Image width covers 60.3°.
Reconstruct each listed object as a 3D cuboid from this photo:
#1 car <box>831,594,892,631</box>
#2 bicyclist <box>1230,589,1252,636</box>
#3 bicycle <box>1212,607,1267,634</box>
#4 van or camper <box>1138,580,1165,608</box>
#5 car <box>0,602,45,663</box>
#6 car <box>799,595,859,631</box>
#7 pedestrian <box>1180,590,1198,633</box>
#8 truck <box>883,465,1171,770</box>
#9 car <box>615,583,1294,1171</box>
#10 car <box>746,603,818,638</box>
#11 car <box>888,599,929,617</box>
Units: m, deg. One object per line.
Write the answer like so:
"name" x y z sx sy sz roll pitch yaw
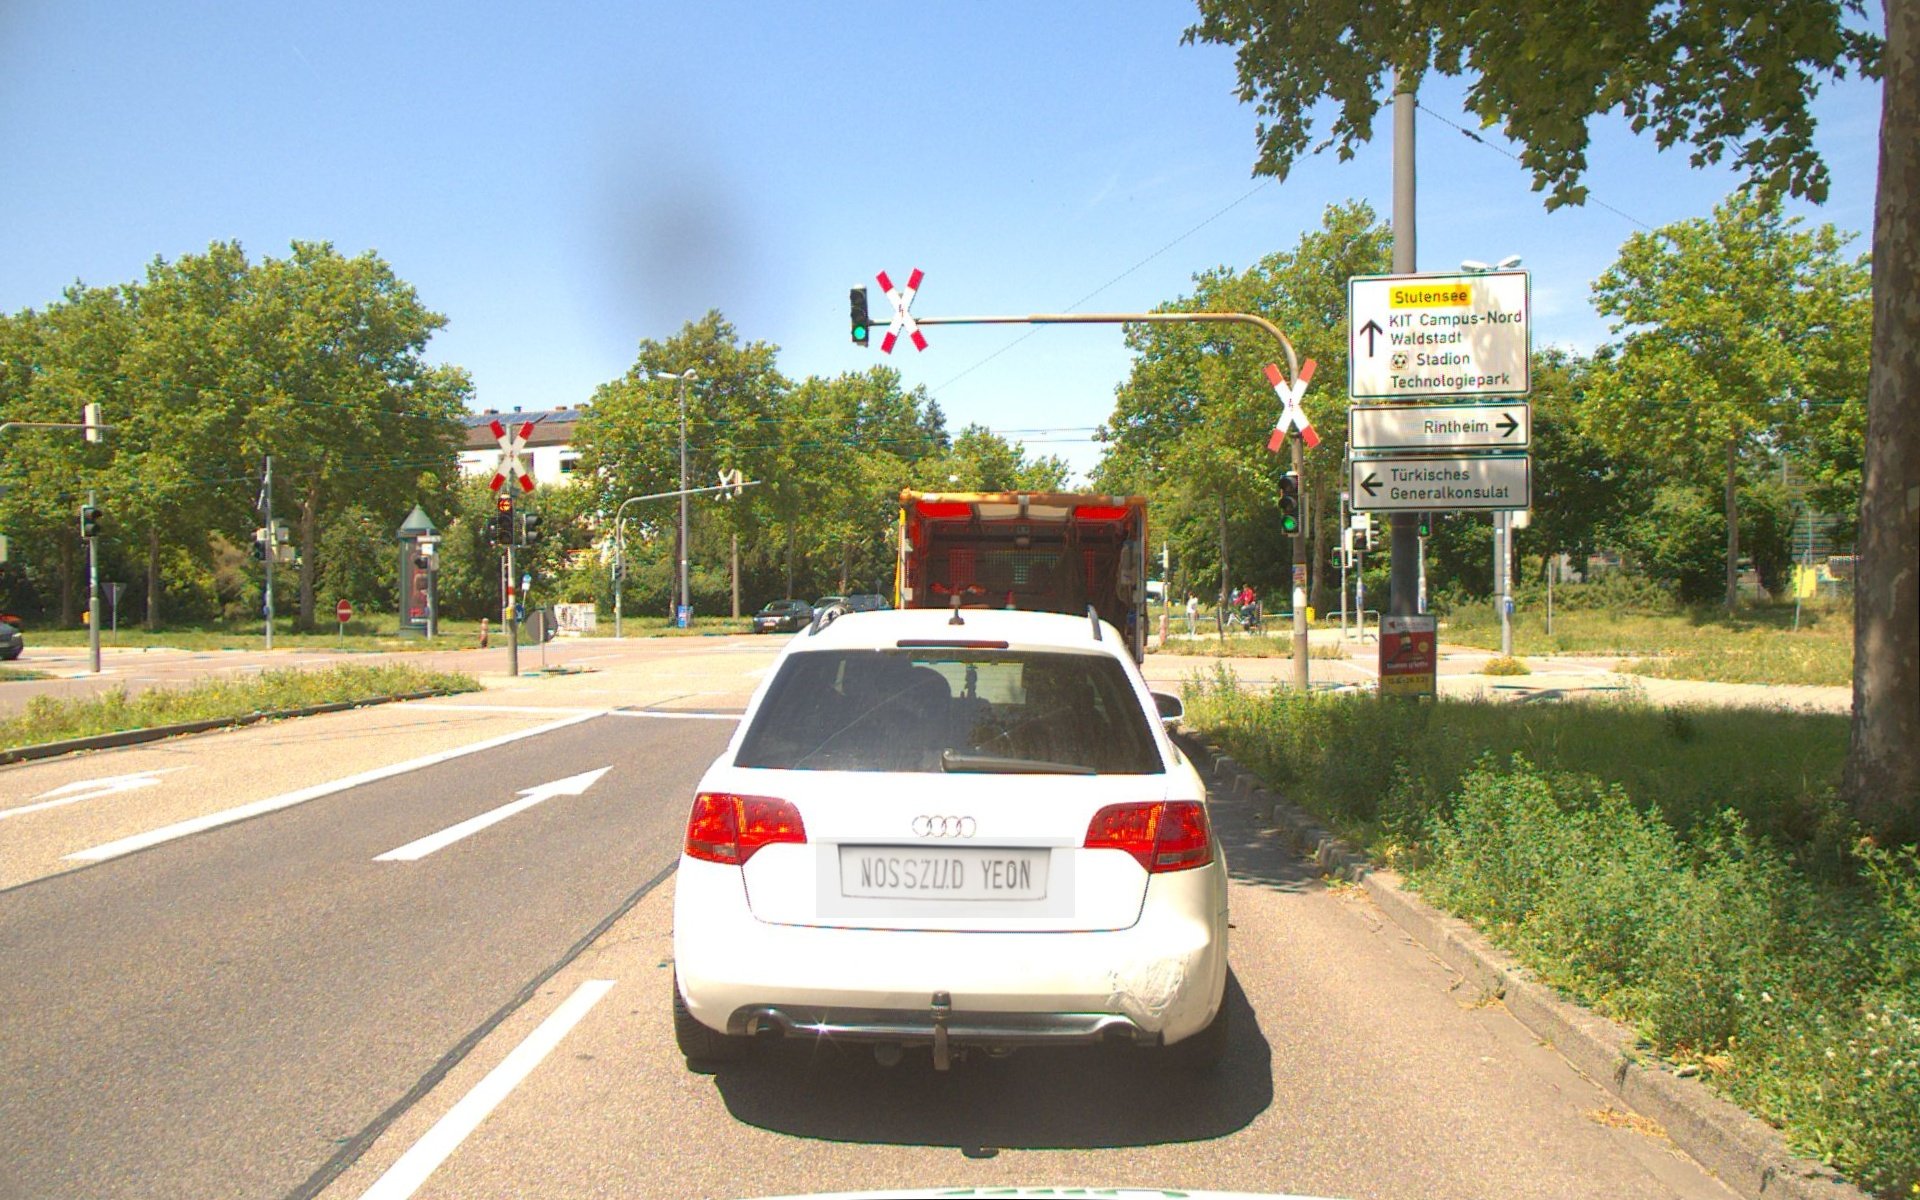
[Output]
"car" -4.378 0.519 74.048 1.868 1.566 4.302 -1 0 8
"bicyclist" 9.508 0.428 55.933 0.657 1.583 0.580 0 0 5
"bicycle" 9.444 0.694 55.937 1.767 0.911 0.589 0 0 4
"van or camper" 23.364 -0.717 202.062 2.604 3.389 5.505 0 0 14
"car" -25.235 0.815 42.057 3.907 1.483 1.760 -1 0 32
"car" -6.347 0.614 80.656 1.749 1.643 4.408 -1 0 11
"pedestrian" 8.082 0.415 58.427 0.541 1.510 0.630 -1 0 16
"truck" 0.737 0.158 18.179 2.459 2.604 7.605 1 0 2
"car" 0.083 0.692 6.029 1.725 1.470 3.617 0 0 3
"car" -7.832 0.884 73.319 1.907 1.465 4.751 0 1 11
"car" -4.322 0.673 139.134 1.844 1.417 3.997 0 0 26
